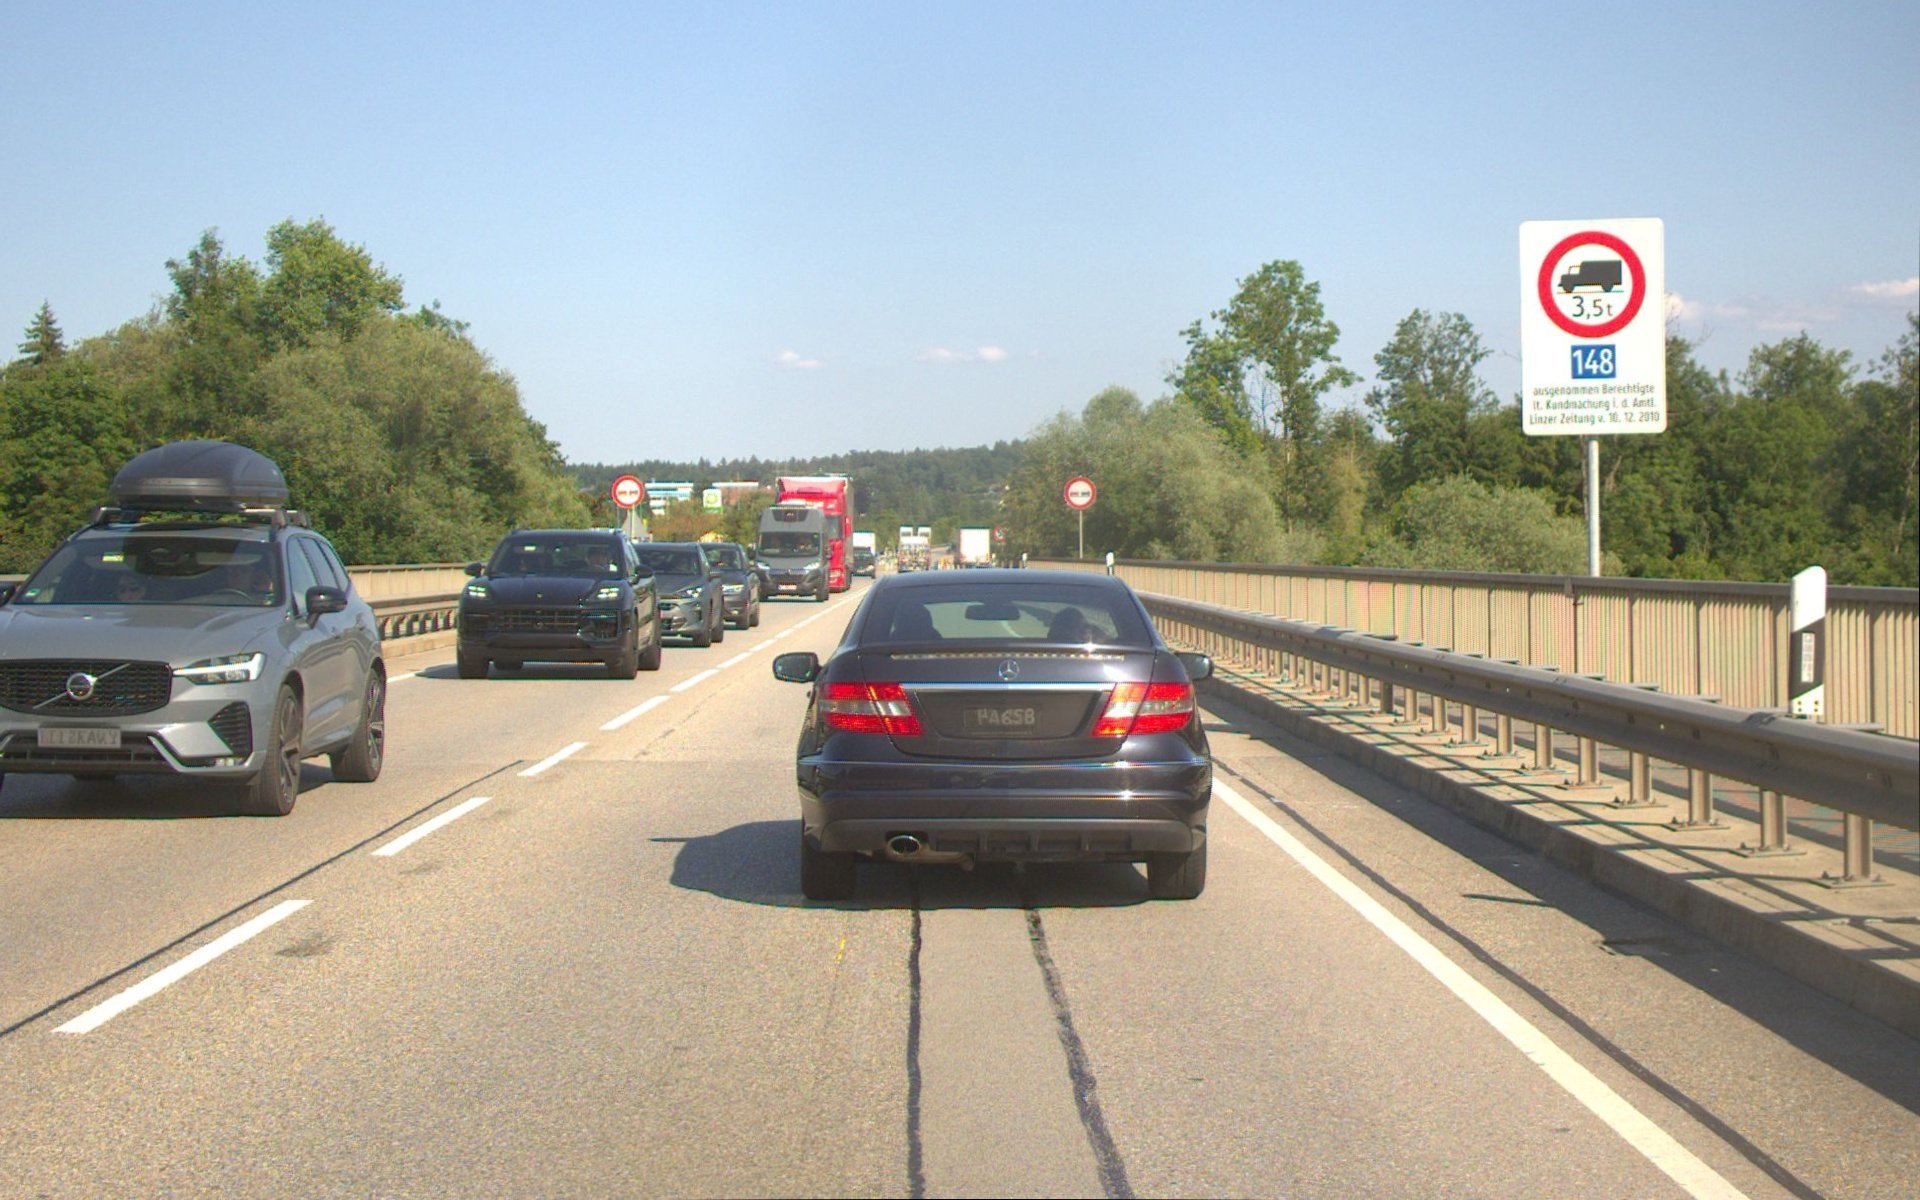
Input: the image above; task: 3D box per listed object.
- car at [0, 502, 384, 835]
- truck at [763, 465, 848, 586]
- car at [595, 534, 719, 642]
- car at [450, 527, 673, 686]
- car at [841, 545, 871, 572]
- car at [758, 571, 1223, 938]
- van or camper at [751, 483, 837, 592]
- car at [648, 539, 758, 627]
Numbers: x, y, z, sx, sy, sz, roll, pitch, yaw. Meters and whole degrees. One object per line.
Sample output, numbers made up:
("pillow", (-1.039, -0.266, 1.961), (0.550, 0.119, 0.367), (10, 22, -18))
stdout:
("car", (-4.603, 0.316, 20.081), (1.854, 1.716, 4.566), (0, 1, -2))
("truck", (-5.464, -2.624, 122.494), (2.908, 4.170, 5.714), (1, 1, -2))
("car", (-4.624, -0.205, 52.874), (1.806, 1.572, 4.202), (1, 1, -4))
("car", (-4.540, 0.020, 39.839), (2.053, 1.647, 4.722), (2, 1, -1))
("car", (-6.396, -2.551, 211.891), (1.841, 1.636, 4.577), (0, 1, -2))
("car", (0.138, 0.585, 15.386), (1.793, 1.371, 4.000), (1, 1, 1))
("van or camper", (-4.776, -1.802, 99.803), (2.315, 3.040, 6.818), (0, 1, -2))
("car", (-4.795, -0.341, 64.570), (1.874, 1.578, 4.274), (1, 1, -2))
